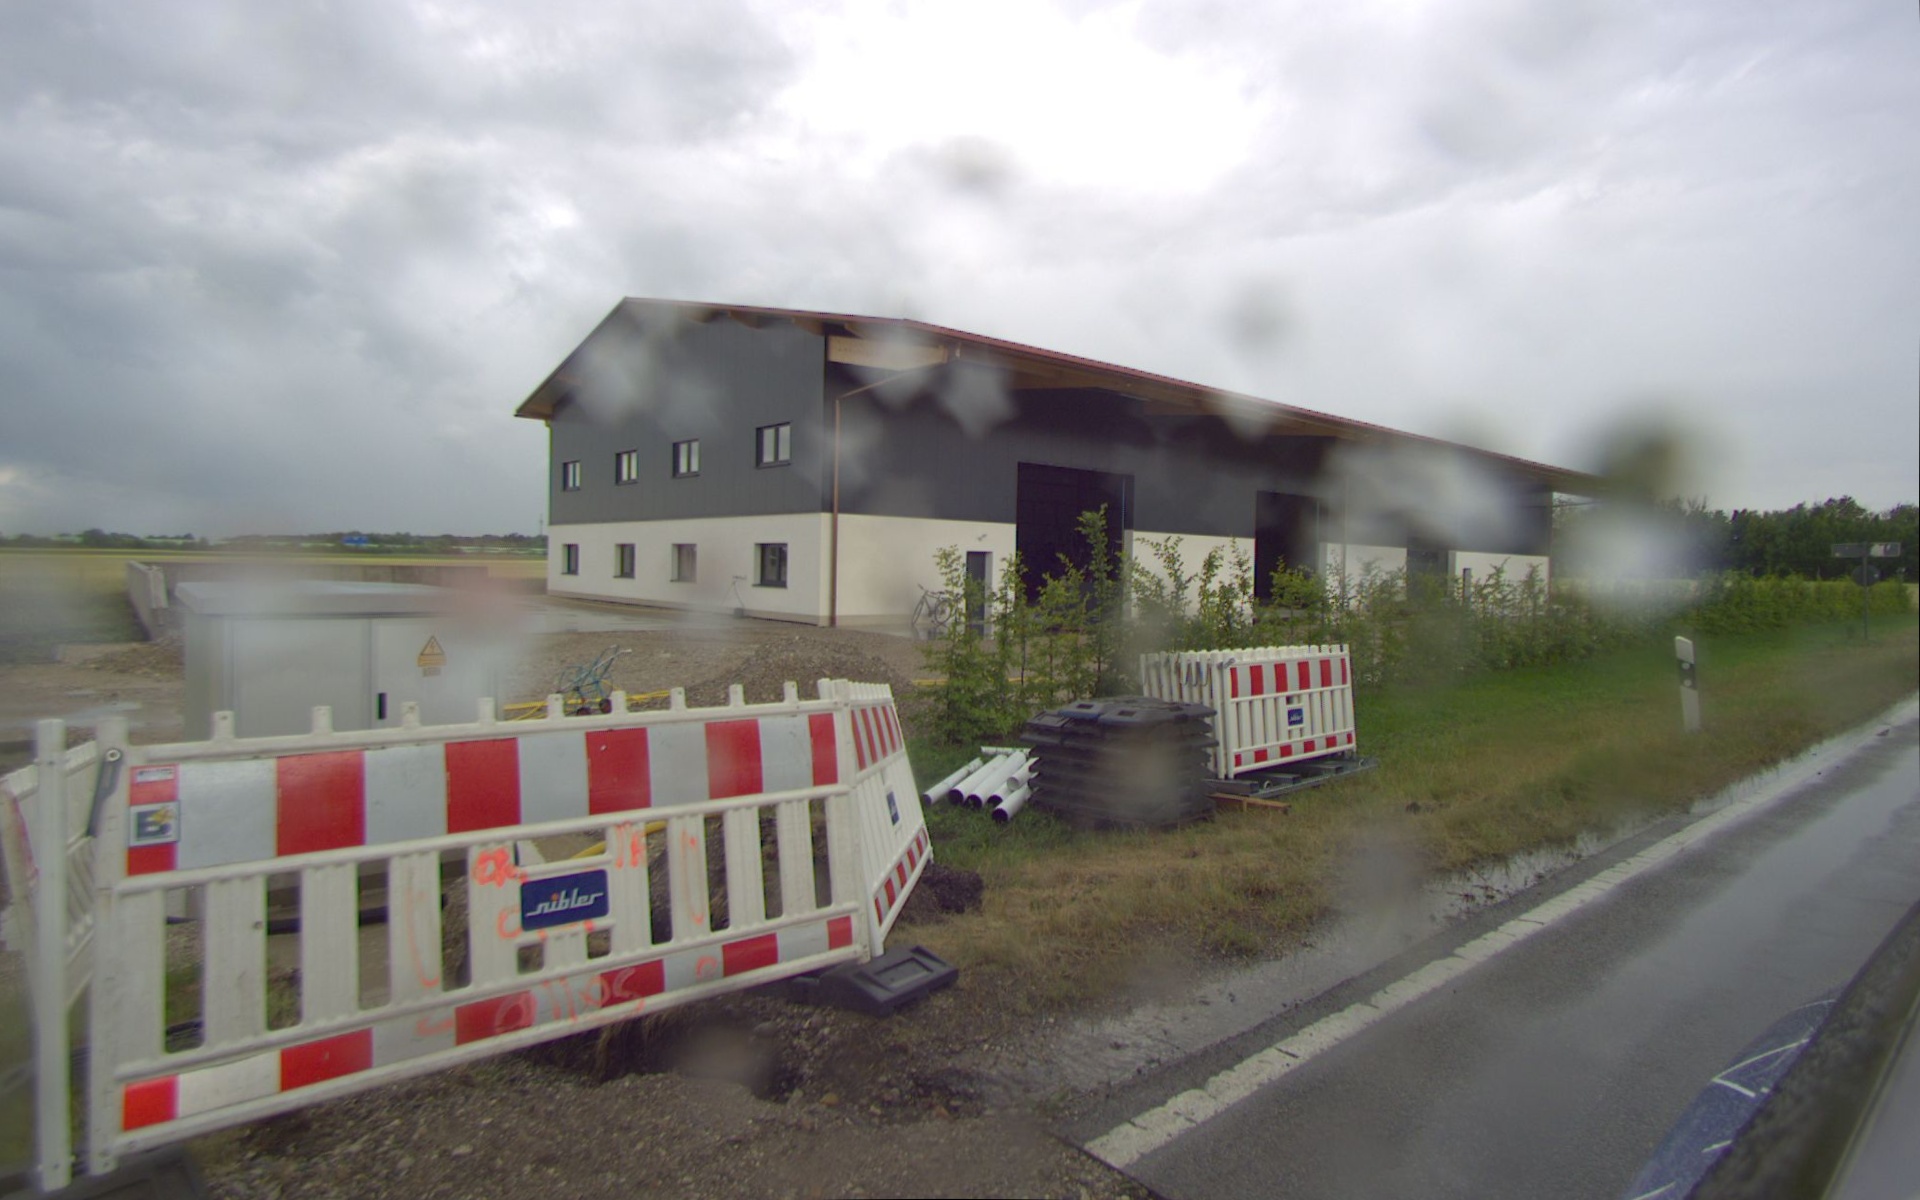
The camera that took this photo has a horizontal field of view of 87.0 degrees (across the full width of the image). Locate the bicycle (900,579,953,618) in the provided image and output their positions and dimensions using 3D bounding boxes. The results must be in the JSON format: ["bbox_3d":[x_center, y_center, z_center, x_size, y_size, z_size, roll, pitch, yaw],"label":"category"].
[{"bbox_3d":[-0.965,-0.066,29.384,1.632,1.085,0.391,-1,3,-41],"label":"bicycle"}]

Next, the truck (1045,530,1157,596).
[{"bbox_3d":[6.840,-1.788,48.841,5.251,3.050,2.495,-1,3,-41],"label":"truck"}]
